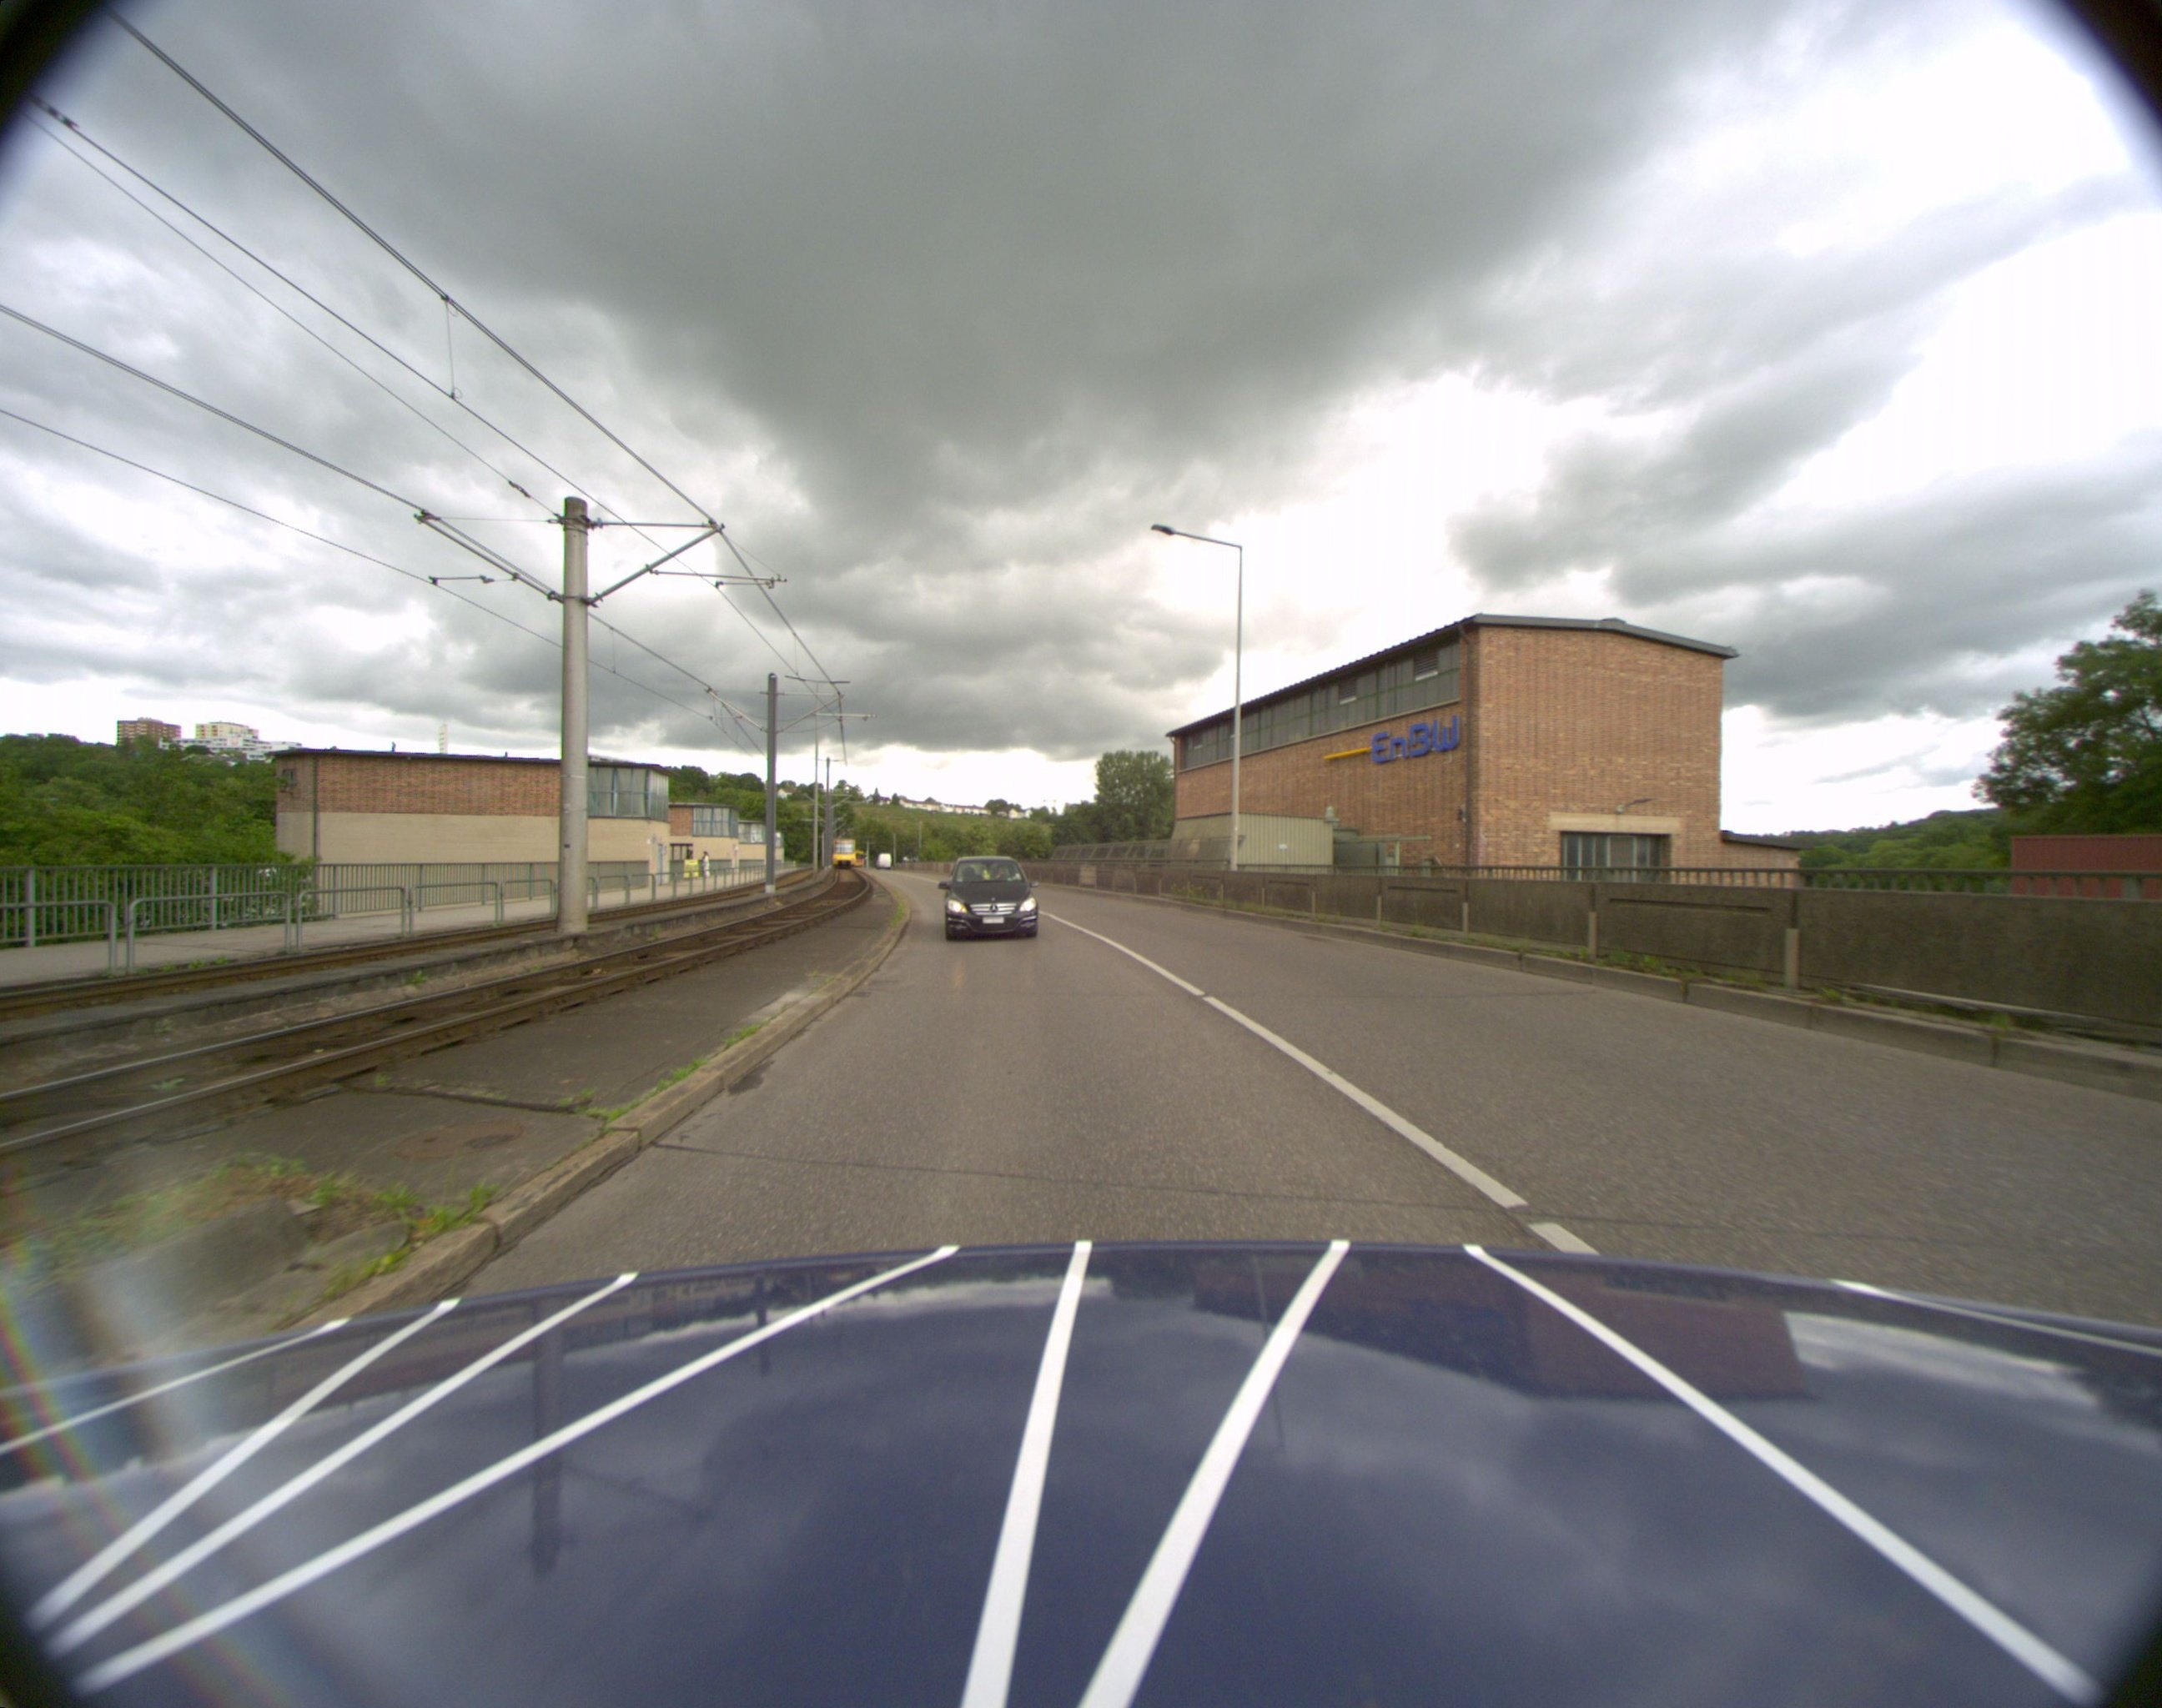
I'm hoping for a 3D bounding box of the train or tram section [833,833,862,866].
[{"bbox_3d":[-28.956,-0.503,94.606,3.034,3.895,9.429,0,0,-15],"label":"train or tram section"}]

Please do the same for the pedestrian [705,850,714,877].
[{"bbox_3d":[-22.978,0.564,46.987,0.512,1.655,0.351,0,1,-22],"label":"pedestrian"}]

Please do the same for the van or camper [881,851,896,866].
[{"bbox_3d":[-32.249,0.785,127.332,2.159,2.461,4.703,-1,0,-18],"label":"van or camper"}]

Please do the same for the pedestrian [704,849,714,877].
[{"bbox_3d":[-22.825,0.552,46.604,0.512,1.655,0.351,0,1,-22],"label":"pedestrian"}]

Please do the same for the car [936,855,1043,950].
[{"bbox_3d":[-1.824,0.880,15.781,1.861,1.612,3.998,-2,0,-5],"label":"car"}]

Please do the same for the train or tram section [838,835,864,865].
[{"bbox_3d":[-31.373,-0.531,103.746,3.034,3.895,9.429,0,0,-15],"label":"train or tram section"}]
